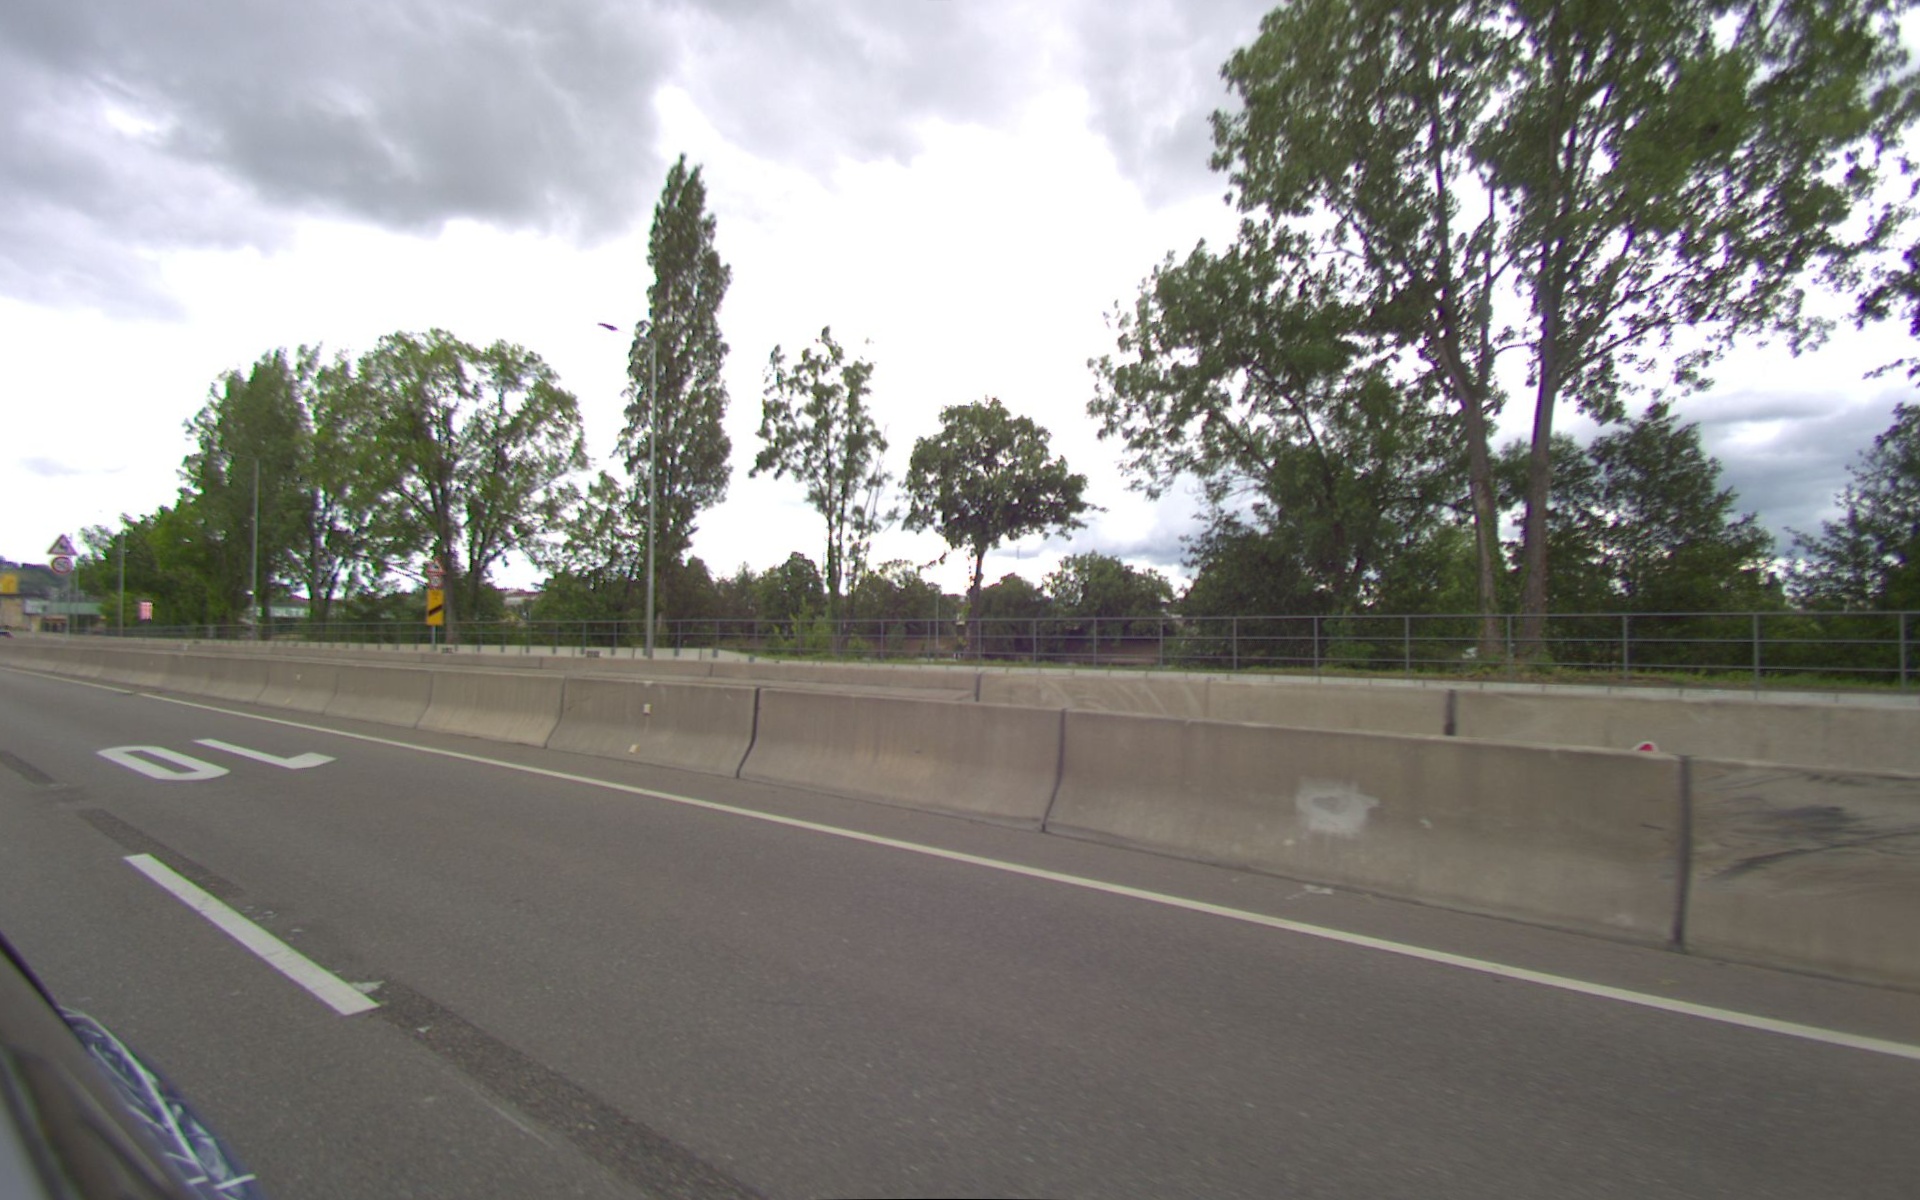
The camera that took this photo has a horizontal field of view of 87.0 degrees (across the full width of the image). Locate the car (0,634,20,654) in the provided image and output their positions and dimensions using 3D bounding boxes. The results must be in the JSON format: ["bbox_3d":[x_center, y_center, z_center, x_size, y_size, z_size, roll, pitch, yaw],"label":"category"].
[{"bbox_3d":[-99.056,4.560,104.580,5.000,1.940,2.304,-2,0,42],"label":"car"}]
